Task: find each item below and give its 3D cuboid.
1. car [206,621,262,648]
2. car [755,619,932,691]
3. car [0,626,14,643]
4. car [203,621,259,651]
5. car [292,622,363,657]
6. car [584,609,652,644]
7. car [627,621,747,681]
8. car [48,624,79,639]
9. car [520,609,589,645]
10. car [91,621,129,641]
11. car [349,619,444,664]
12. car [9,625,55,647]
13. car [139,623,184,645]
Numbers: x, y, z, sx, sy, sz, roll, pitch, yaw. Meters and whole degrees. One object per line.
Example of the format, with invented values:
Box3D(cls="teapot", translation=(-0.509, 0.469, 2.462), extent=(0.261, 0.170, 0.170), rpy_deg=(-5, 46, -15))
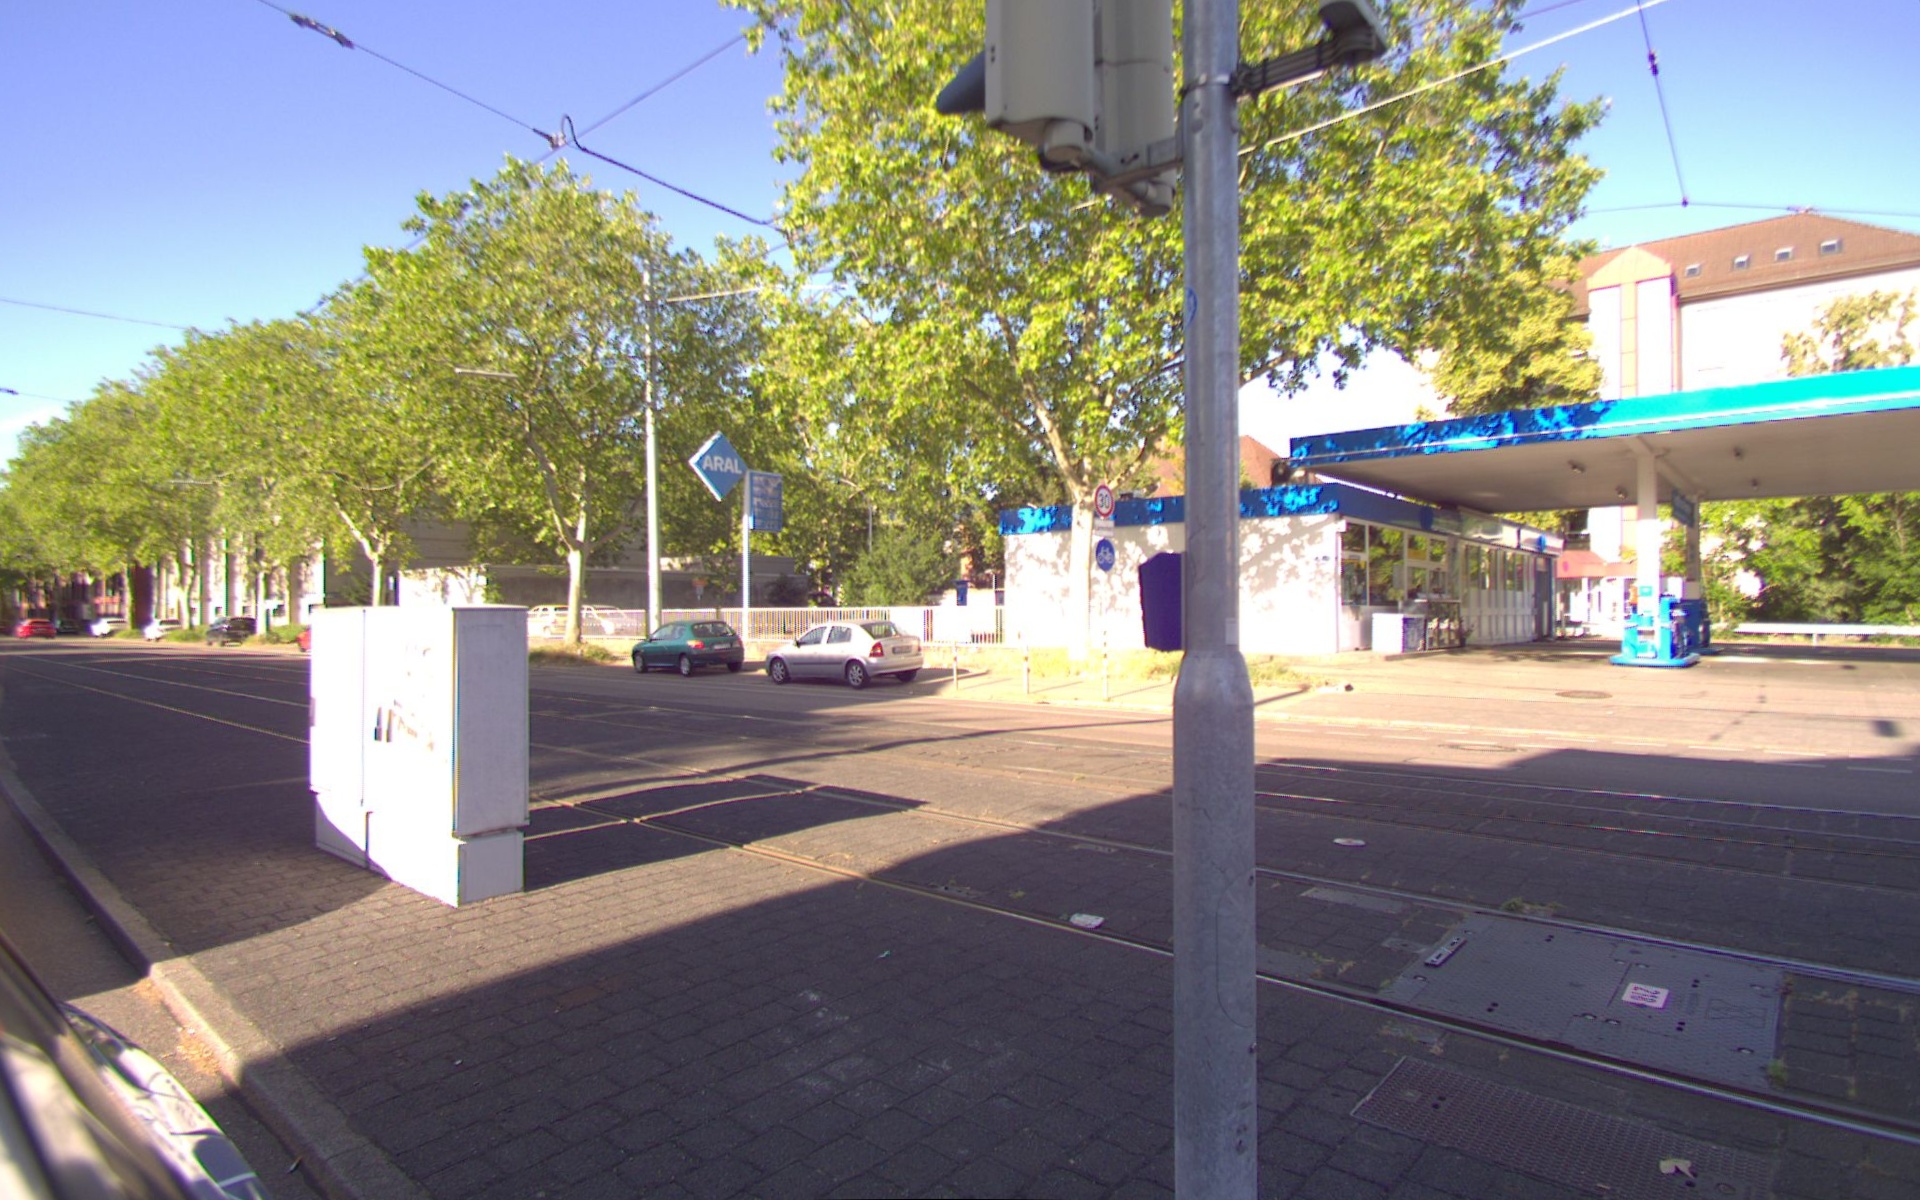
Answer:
Box3D(cls="car", translation=(-40.603, 1.888, 56.584), extent=(3.998, 1.420, 1.678), rpy_deg=(-1, -2, 41))
Box3D(cls="car", translation=(-2.674, 1.164, 22.675), extent=(3.998, 1.431, 1.709), rpy_deg=(-1, 0, 41))
Box3D(cls="car", translation=(-86.069, 3.019, 90.419), extent=(3.998, 1.430, 1.678), rpy_deg=(-1, -10, 41))
Box3D(cls="car", translation=(-40.738, 1.981, 56.544), extent=(3.998, 1.587, 1.678), rpy_deg=(-1, -2, 41))
Box3D(cls="car", translation=(-28.898, 1.753, 46.189), extent=(3.998, 1.480, 1.678), rpy_deg=(0, -1, 41))
Box3D(cls="car", translation=(-14.715, 1.098, 43.487), extent=(3.151, 1.431, 1.525), rpy_deg=(-1, 0, 44))
Box3D(cls="car", translation=(-7.286, 1.304, 26.866), extent=(3.253, 1.431, 1.526), rpy_deg=(-1, 0, 41))
Box3D(cls="car", translation=(-85.185, 2.971, 96.173), extent=(3.998, 1.420, 1.678), rpy_deg=(-1, -2, 41))
Box3D(cls="car", translation=(-16.860, 1.098, 42.006), extent=(3.151, 1.431, 1.525), rpy_deg=(-1, 0, 44))
Box3D(cls="car", translation=(-66.815, 2.413, 79.556), extent=(3.998, 1.569, 1.678), rpy_deg=(-1, -2, 41))
Box3D(cls="car", translation=(-22.349, 1.597, 40.081), extent=(4.431, 1.534, 1.731), rpy_deg=(-1, 3, 40))
Box3D(cls="car", translation=(-68.509, 2.649, 74.725), extent=(4.761, 1.534, 1.887), rpy_deg=(-1, -2, 40))
Box3D(cls="car", translation=(-53.813, 2.290, 68.208), extent=(3.998, 1.420, 1.678), rpy_deg=(-1, -2, 41))
